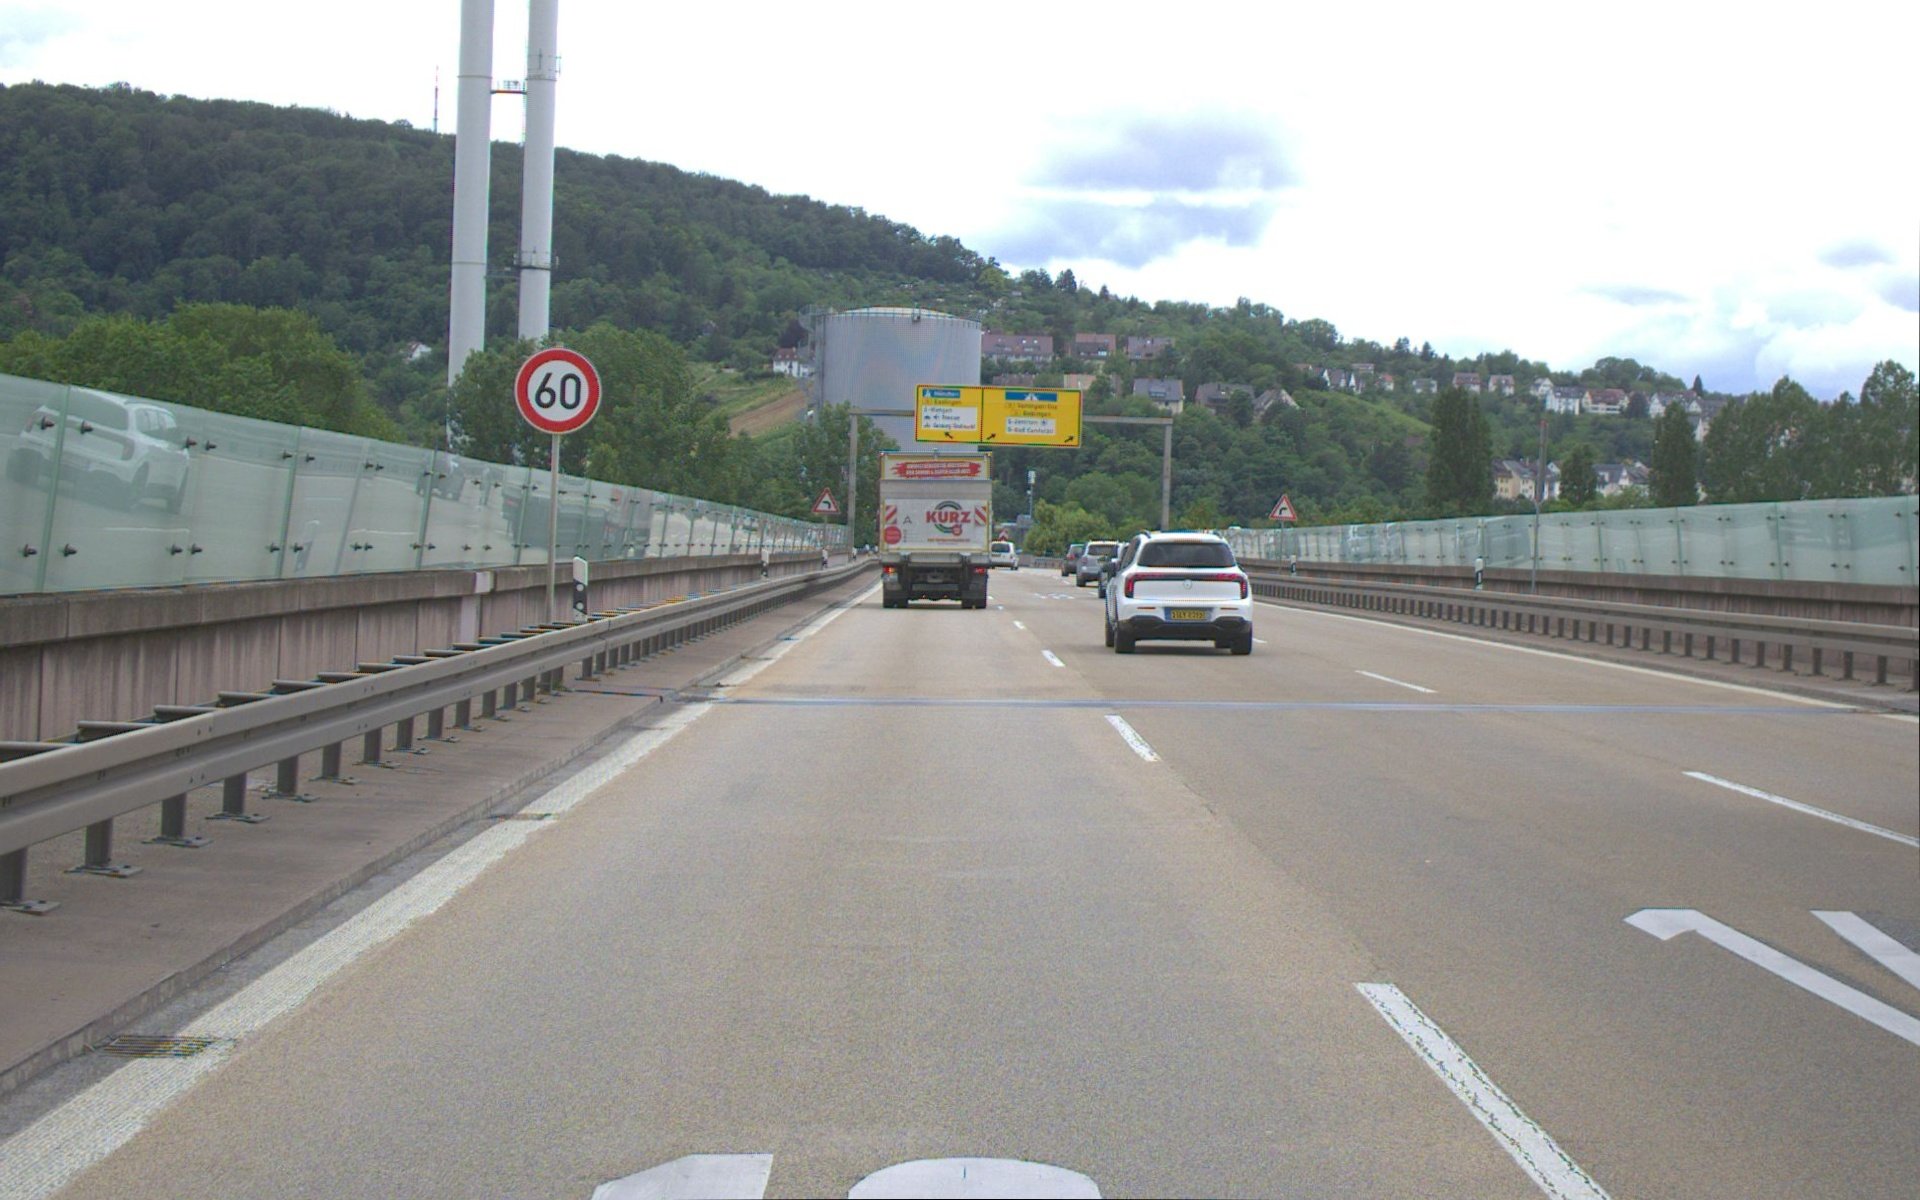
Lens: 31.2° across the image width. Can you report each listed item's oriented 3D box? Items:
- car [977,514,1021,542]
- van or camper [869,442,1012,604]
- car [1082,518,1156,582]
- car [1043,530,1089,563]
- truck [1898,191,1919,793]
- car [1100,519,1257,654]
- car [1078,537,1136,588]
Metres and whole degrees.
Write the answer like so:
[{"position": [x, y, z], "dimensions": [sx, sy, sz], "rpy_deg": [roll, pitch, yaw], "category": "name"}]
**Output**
[{"position": [2.822, -5.160, 247.880], "dimensions": [2.474, 1.973, 5.158], "rpy_deg": [1, 1, 9], "category": "car"}, {"position": [-0.375, -1.788, 81.074], "dimensions": [3.122, 3.567, 8.550], "rpy_deg": [1, 1, 1], "category": "van or camper"}, {"position": [4.561, -1.458, 98.821], "dimensions": [1.924, 1.779, 4.113], "rpy_deg": [1, 1, 0], "category": "car"}, {"position": [4.763, -2.412, 153.758], "dimensions": [1.924, 1.429, 4.113], "rpy_deg": [1, 1, 3], "category": "car"}, {"position": [6.893, -0.580, 17.865], "dimensions": [2.631, 3.502, 4.904], "rpy_deg": [1, 1, 0], "category": "truck"}, {"position": [3.021, -0.233, 48.215], "dimensions": [1.924, 1.779, 4.113], "rpy_deg": [1, 1, 0], "category": "car"}, {"position": [5.346, -1.378, 125.438], "dimensions": [1.924, 1.779, 4.113], "rpy_deg": [1, 1, 1], "category": "car"}]
